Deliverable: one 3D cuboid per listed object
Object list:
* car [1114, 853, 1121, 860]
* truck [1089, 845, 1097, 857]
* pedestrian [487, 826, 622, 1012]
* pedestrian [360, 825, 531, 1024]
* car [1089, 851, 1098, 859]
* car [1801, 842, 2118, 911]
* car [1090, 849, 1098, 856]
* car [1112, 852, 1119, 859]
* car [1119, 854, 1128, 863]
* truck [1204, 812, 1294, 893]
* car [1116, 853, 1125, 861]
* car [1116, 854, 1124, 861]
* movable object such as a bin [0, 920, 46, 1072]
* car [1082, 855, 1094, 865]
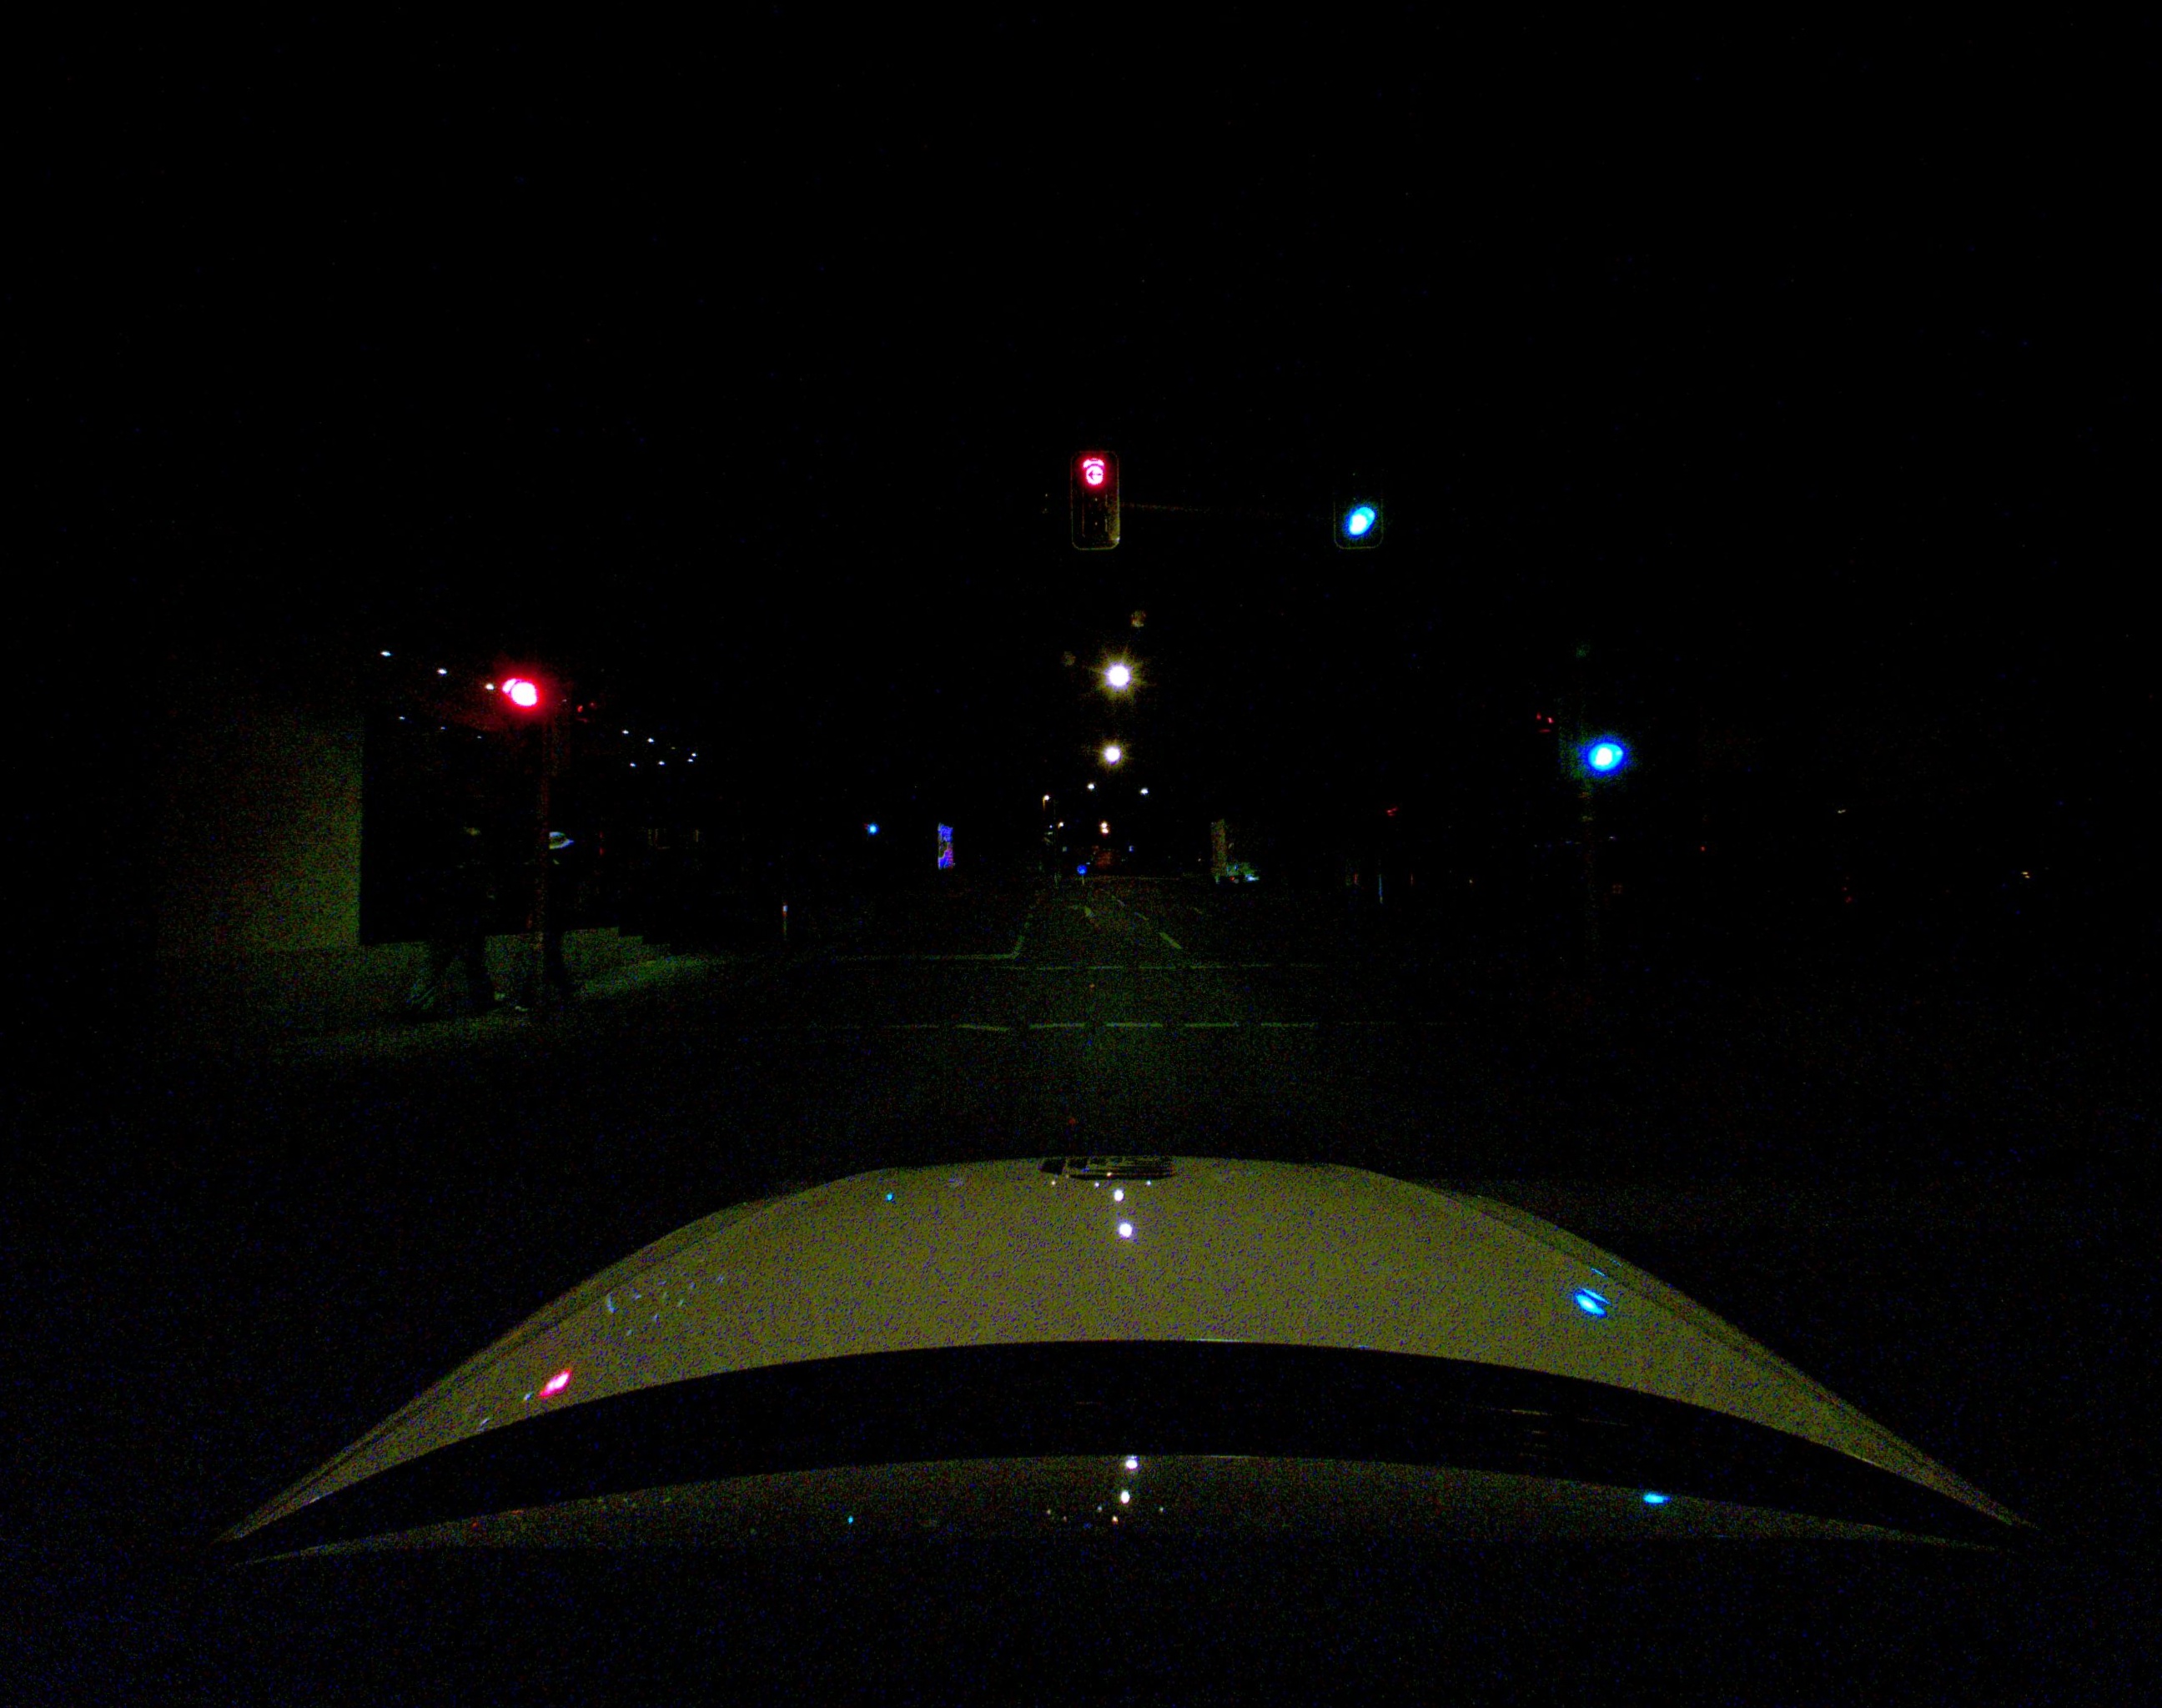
[{"bbox_3d":[7.991,0.470,178.577,1.628,1.452,3.486,0,0,2],"label":"car"},{"bbox_3d":[3.157,-0.781,209.809,2.079,2.848,5.831,0,0,0],"label":"truck"},{"bbox_3d":[-5.258,0.620,8.194,0.673,1.745,1.029,-1,-1,0],"label":"pedestrian"},{"bbox_3d":[-5.984,0.624,7.745,0.739,1.745,1.103,-1,-1,0],"label":"pedestrian"},{"bbox_3d":[2.444,0.259,160.754,1.809,1.491,4.000,0,0,0],"label":"car"},{"bbox_3d":[17.320,0.439,16.270,4.107,1.280,1.770,-1,-1,9],"label":"car"},{"bbox_3d":[3.013,-0.388,187.156,1.809,1.491,4.000,0,0,0],"label":"car"},{"bbox_3d":[8.200,0.330,191.554,1.628,1.452,3.486,0,0,2],"label":"car"},{"bbox_3d":[7.495,0.775,143.399,1.628,1.452,3.486,0,0,2],"label":"car"},{"bbox_3d":[6.963,-0.036,34.601,2.738,3.110,6.262,0,0,2],"label":"truck"},{"bbox_3d":[7.481,0.597,153.143,1.628,1.452,3.486,0,0,2],"label":"car"},{"bbox_3d":[7.618,0.658,159.329,1.628,1.452,3.486,0,0,2],"label":"car"},{"bbox_3d":[-7.930,1.011,5.704,0.633,1.049,0.657,-1,-1,19],"label":"movable object such as a bin"},{"bbox_3d":[1.204,0.958,134.628,1.808,1.684,4.002,0,0,2],"label":"car"}]
